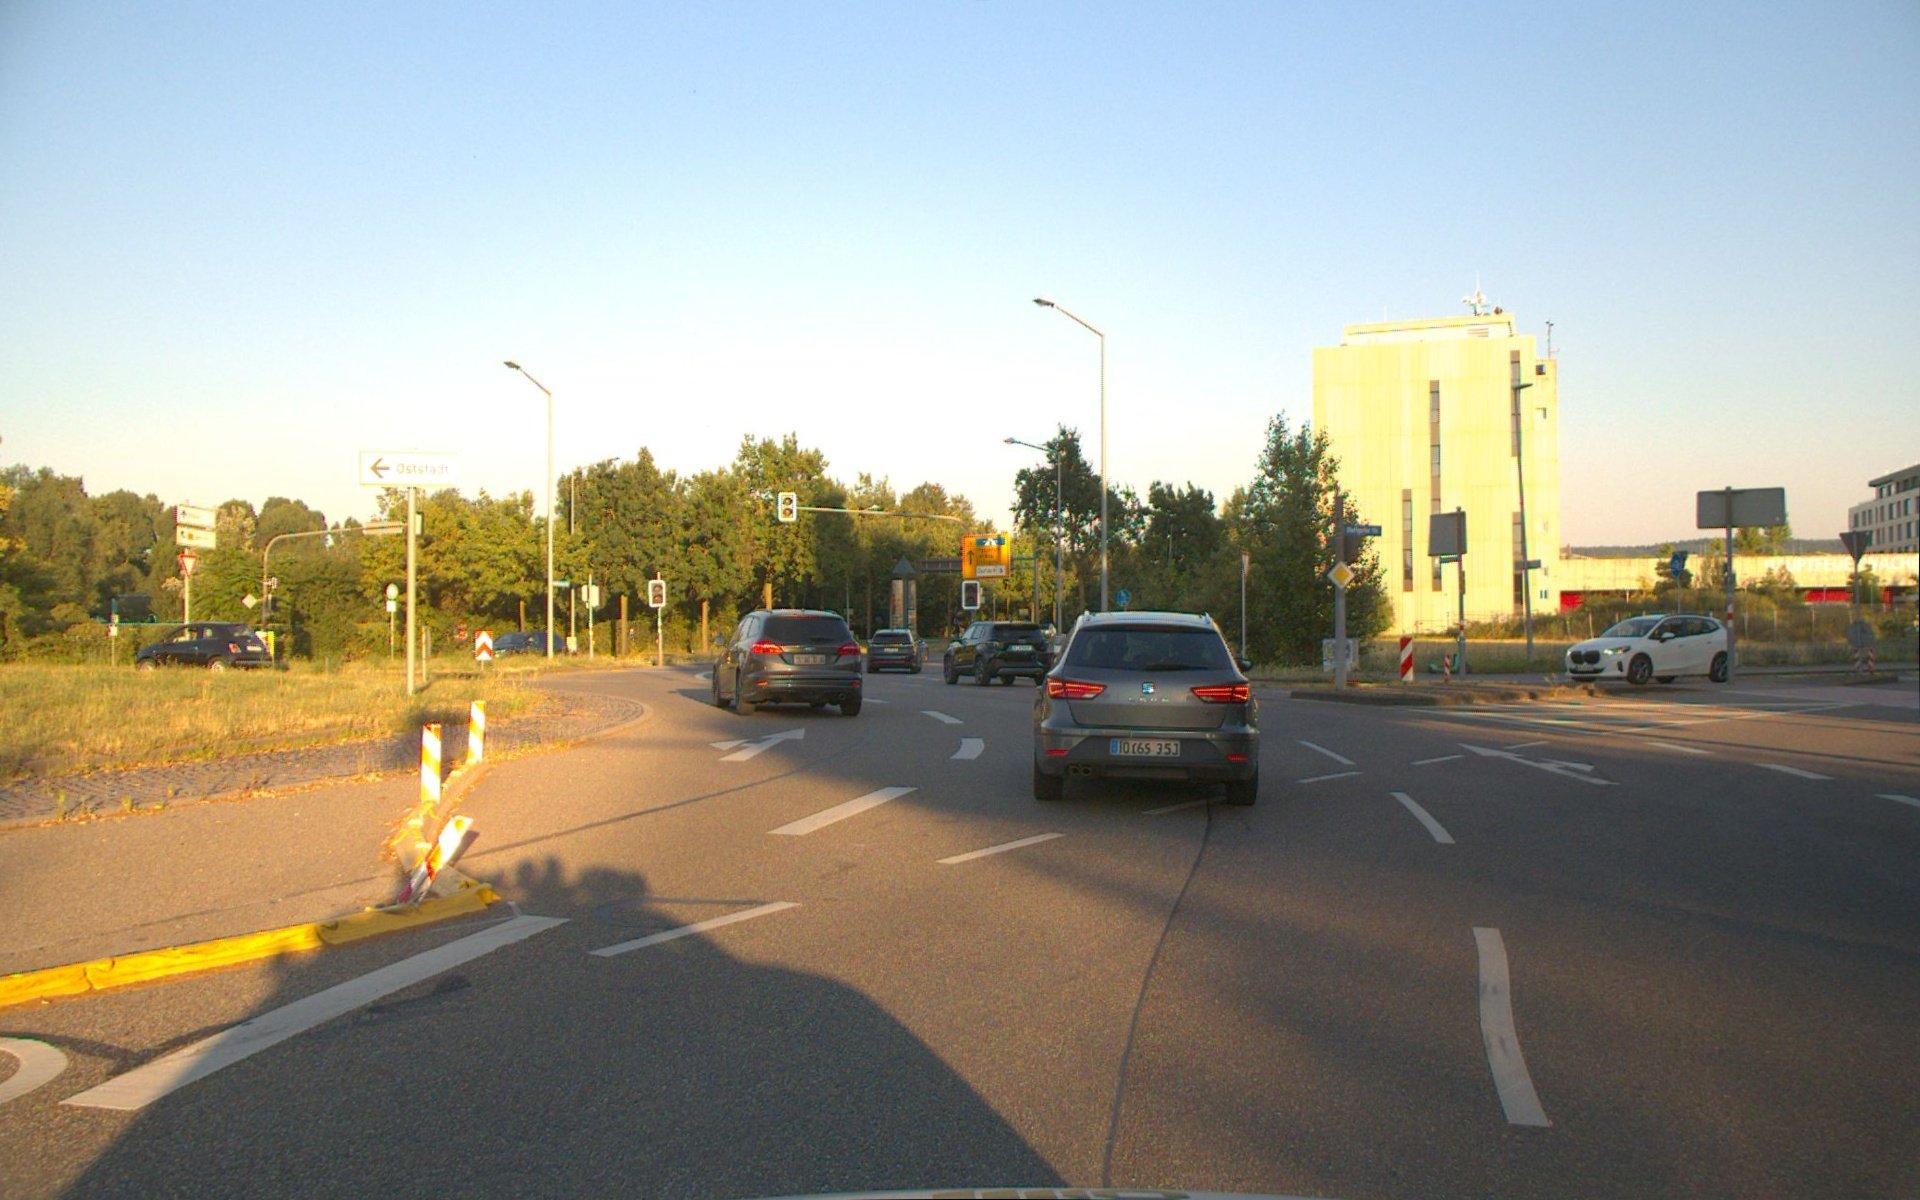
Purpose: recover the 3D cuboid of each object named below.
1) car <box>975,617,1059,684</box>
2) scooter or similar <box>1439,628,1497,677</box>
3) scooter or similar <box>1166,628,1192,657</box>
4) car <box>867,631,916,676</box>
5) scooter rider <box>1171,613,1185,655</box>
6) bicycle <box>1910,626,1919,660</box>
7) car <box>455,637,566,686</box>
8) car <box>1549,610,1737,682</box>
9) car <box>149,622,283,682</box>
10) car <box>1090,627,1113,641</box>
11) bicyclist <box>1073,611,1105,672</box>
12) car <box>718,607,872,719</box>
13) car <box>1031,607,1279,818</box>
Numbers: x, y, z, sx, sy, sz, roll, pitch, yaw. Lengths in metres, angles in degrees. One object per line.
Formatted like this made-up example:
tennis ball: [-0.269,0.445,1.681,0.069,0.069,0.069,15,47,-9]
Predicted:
car: [1.336,1.189,40.339,1.776,1.552,4.133,0,-1,-2]
scooter or similar: [12.360,1.268,40.257,0.438,1.183,1.364,1,-1,-38]
scooter or similar: [7.058,1.363,53.329,0.244,0.930,1.028,0,-1,-30]
car: [-2.419,1.872,59.129,1.710,1.515,4.133,0,0,-2]
scooter rider: [7.032,1.100,53.311,0.261,1.362,0.402,0,-1,-31]
bicycle: [31.391,1.385,53.295,0.277,1.108,1.356,1,-1,-34]
car: [-17.447,2.371,64.394,1.710,1.778,4.596,0,-1,23]
car: [15.888,1.067,38.473,4.032,1.586,1.875,1,-2,-27]
car: [-19.539,1.322,43.365,4.060,1.471,1.741,-1,-1,42]
car: [15.189,3.678,177.769,1.685,1.474,4.552,0,-1,15]
bicyclist: [4.227,1.359,54.285,0.888,1.931,0.642,-2,-2,14]
car: [-2.514,0.861,24.343,1.716,1.492,4.120,0,-1,-14]
car: [1.588,0.796,13.561,1.708,1.449,4.137,0,-1,7]
